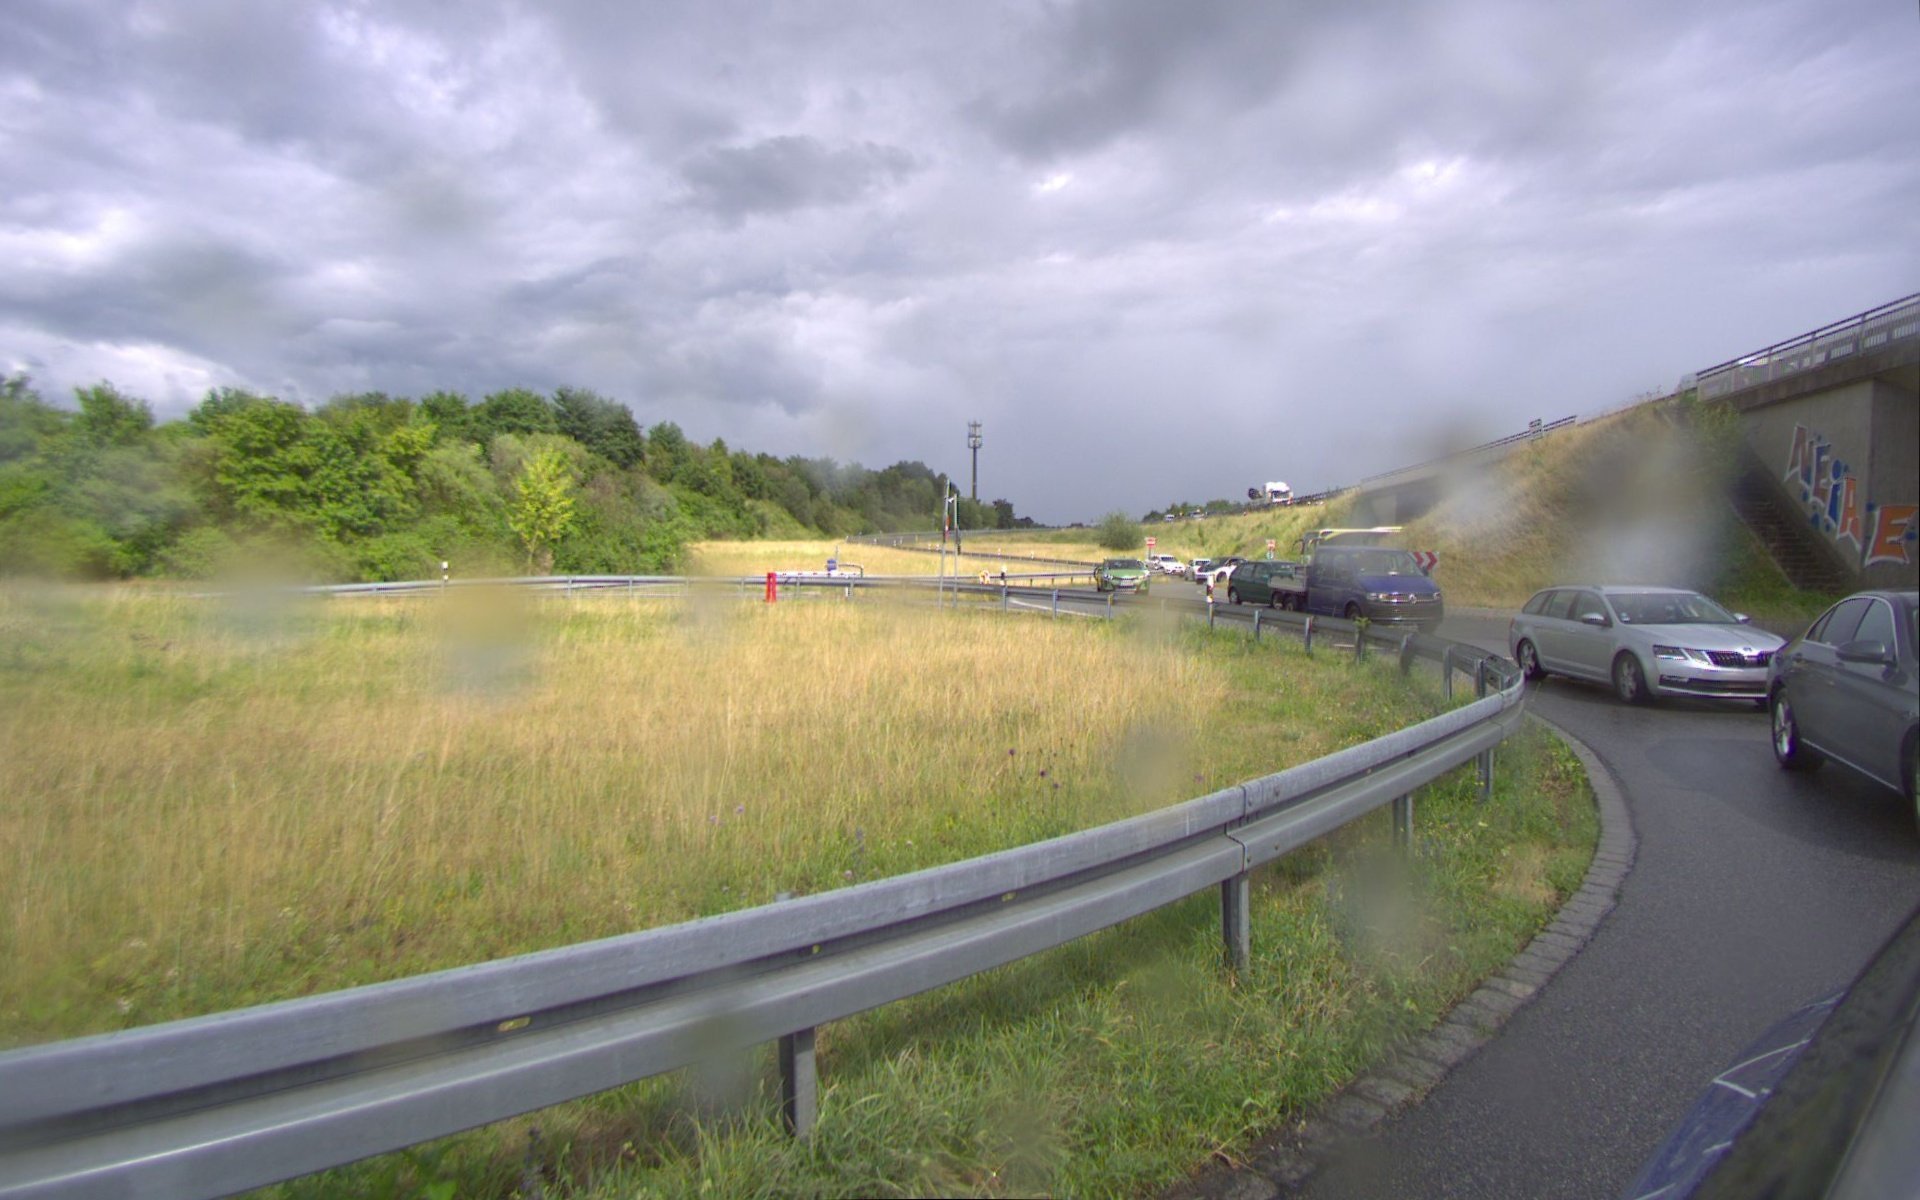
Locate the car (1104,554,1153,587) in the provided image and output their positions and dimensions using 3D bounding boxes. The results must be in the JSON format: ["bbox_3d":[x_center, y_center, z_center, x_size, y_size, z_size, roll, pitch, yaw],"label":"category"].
[{"bbox_3d":[8.222,-1.450,49.211,1.599,1.492,3.905,2,3,21],"label":"car"}]

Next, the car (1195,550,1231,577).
[{"bbox_3d":[14.551,-2.136,58.346,1.591,1.492,3.924,1,3,8],"label":"car"}]

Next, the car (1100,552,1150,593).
[{"bbox_3d":[6.428,-1.138,39.752,1.589,1.492,3.845,0,3,4],"label":"car"}]

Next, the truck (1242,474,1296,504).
[{"bbox_3d":[38.943,-13.962,127.823,3.097,3.232,9.297,-1,3,-6],"label":"truck"}]

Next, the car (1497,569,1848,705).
[{"bbox_3d":[9.040,0.353,13.397,1.766,1.415,4.347,-1,3,4],"label":"car"}]

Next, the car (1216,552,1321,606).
[{"bbox_3d":[9.384,-0.693,31.053,1.624,1.492,3.854,0,3,-7],"label":"car"}]

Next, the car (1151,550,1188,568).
[{"bbox_3d":[15.650,-3.070,75.710,1.678,1.305,3.779,0,3,-4],"label":"car"}]

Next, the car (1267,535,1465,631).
[{"bbox_3d":[9.388,-0.532,24.080,1.855,1.937,5.694,0,4,-6],"label":"car"}]

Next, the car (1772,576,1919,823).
[{"bbox_3d":[6.737,0.577,6.228,1.754,1.408,4.550,1,2,27],"label":"car"}]
